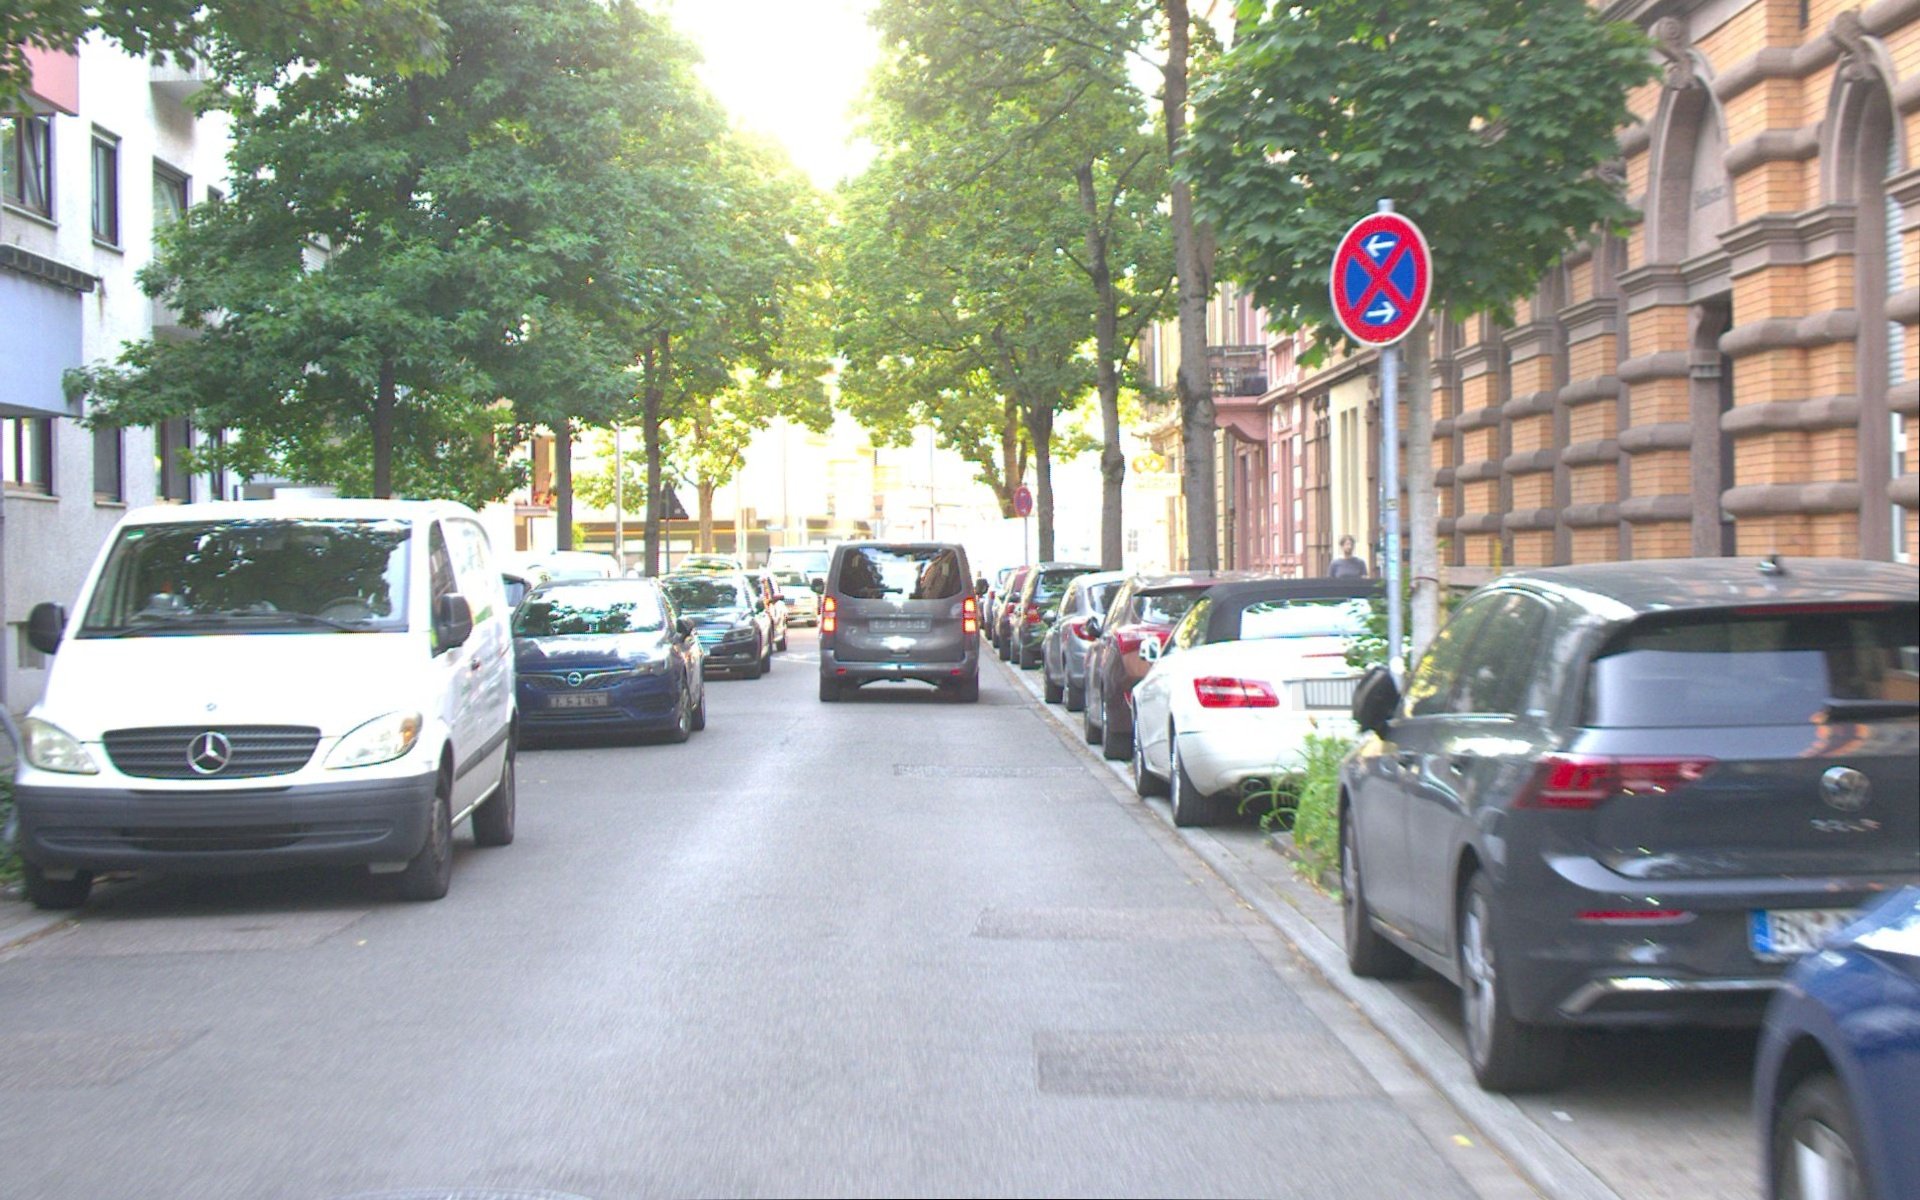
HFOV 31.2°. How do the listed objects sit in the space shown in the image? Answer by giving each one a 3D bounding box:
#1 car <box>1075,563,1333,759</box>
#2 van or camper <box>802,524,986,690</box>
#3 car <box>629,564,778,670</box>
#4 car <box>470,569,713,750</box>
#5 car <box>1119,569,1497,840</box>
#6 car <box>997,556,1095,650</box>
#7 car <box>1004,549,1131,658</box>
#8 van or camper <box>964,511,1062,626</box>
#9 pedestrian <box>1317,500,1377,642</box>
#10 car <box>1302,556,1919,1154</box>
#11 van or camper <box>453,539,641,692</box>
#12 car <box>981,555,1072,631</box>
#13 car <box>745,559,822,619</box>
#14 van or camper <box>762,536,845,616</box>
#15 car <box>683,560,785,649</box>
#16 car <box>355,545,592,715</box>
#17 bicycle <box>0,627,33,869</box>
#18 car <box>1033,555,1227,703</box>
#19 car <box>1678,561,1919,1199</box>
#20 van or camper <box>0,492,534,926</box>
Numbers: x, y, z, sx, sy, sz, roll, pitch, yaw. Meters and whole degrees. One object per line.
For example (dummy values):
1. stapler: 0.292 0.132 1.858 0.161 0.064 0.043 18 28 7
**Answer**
1. car: 1.926 0.452 28.212 1.722 1.445 4.215 -1 0 -1
2. van or camper: -0.734 0.055 41.275 2.035 1.891 4.271 0 1 1
3. car: -3.653 0.207 49.609 1.846 1.446 4.503 0 1 0
4. car: -3.281 0.488 31.385 1.830 1.512 4.516 0 0 -1
5. car: 1.988 0.544 20.877 1.693 1.396 4.646 -1 1 -1
6. car: 1.417 0.024 56.130 1.551 1.491 3.610 0 1 2
7. car: 1.600 0.020 52.123 1.611 1.553 3.766 -1 1 -3
8. van or camper: 1.204 -0.744 80.124 1.993 2.590 5.425 0 1 -2
9. pedestrian: 4.514 -0.342 40.118 0.627 1.643 0.532 0 1 0
10. car: 2.184 0.609 10.695 1.711 1.472 4.193 0 1 -2
11. van or camper: -5.186 0.152 43.678 1.931 1.754 4.466 3 1 -2
12. car: 1.310 -0.159 69.149 1.750 1.466 3.776 0 1 0
13. car: -4.287 -0.274 83.983 1.741 1.399 3.375 -1 1 -1
14. van or camper: -4.031 -0.641 89.084 1.862 1.976 4.271 -1 1 1
15. car: -3.943 0.061 60.370 1.630 1.425 3.543 -1 2 -2
16. car: -5.295 0.275 37.985 2.034 1.666 4.649 3 1 -2
17. bicycle: -5.356 0.732 16.180 0.698 1.159 1.818 0 1 41
18. car: 1.834 0.277 38.117 1.697 1.477 4.001 -3 1 -3
19. car: 2.246 0.683 4.248 1.627 1.461 4.246 -1 1 -3
20. van or camper: -3.279 0.431 17.199 1.876 1.836 4.753 -1 1 -3
